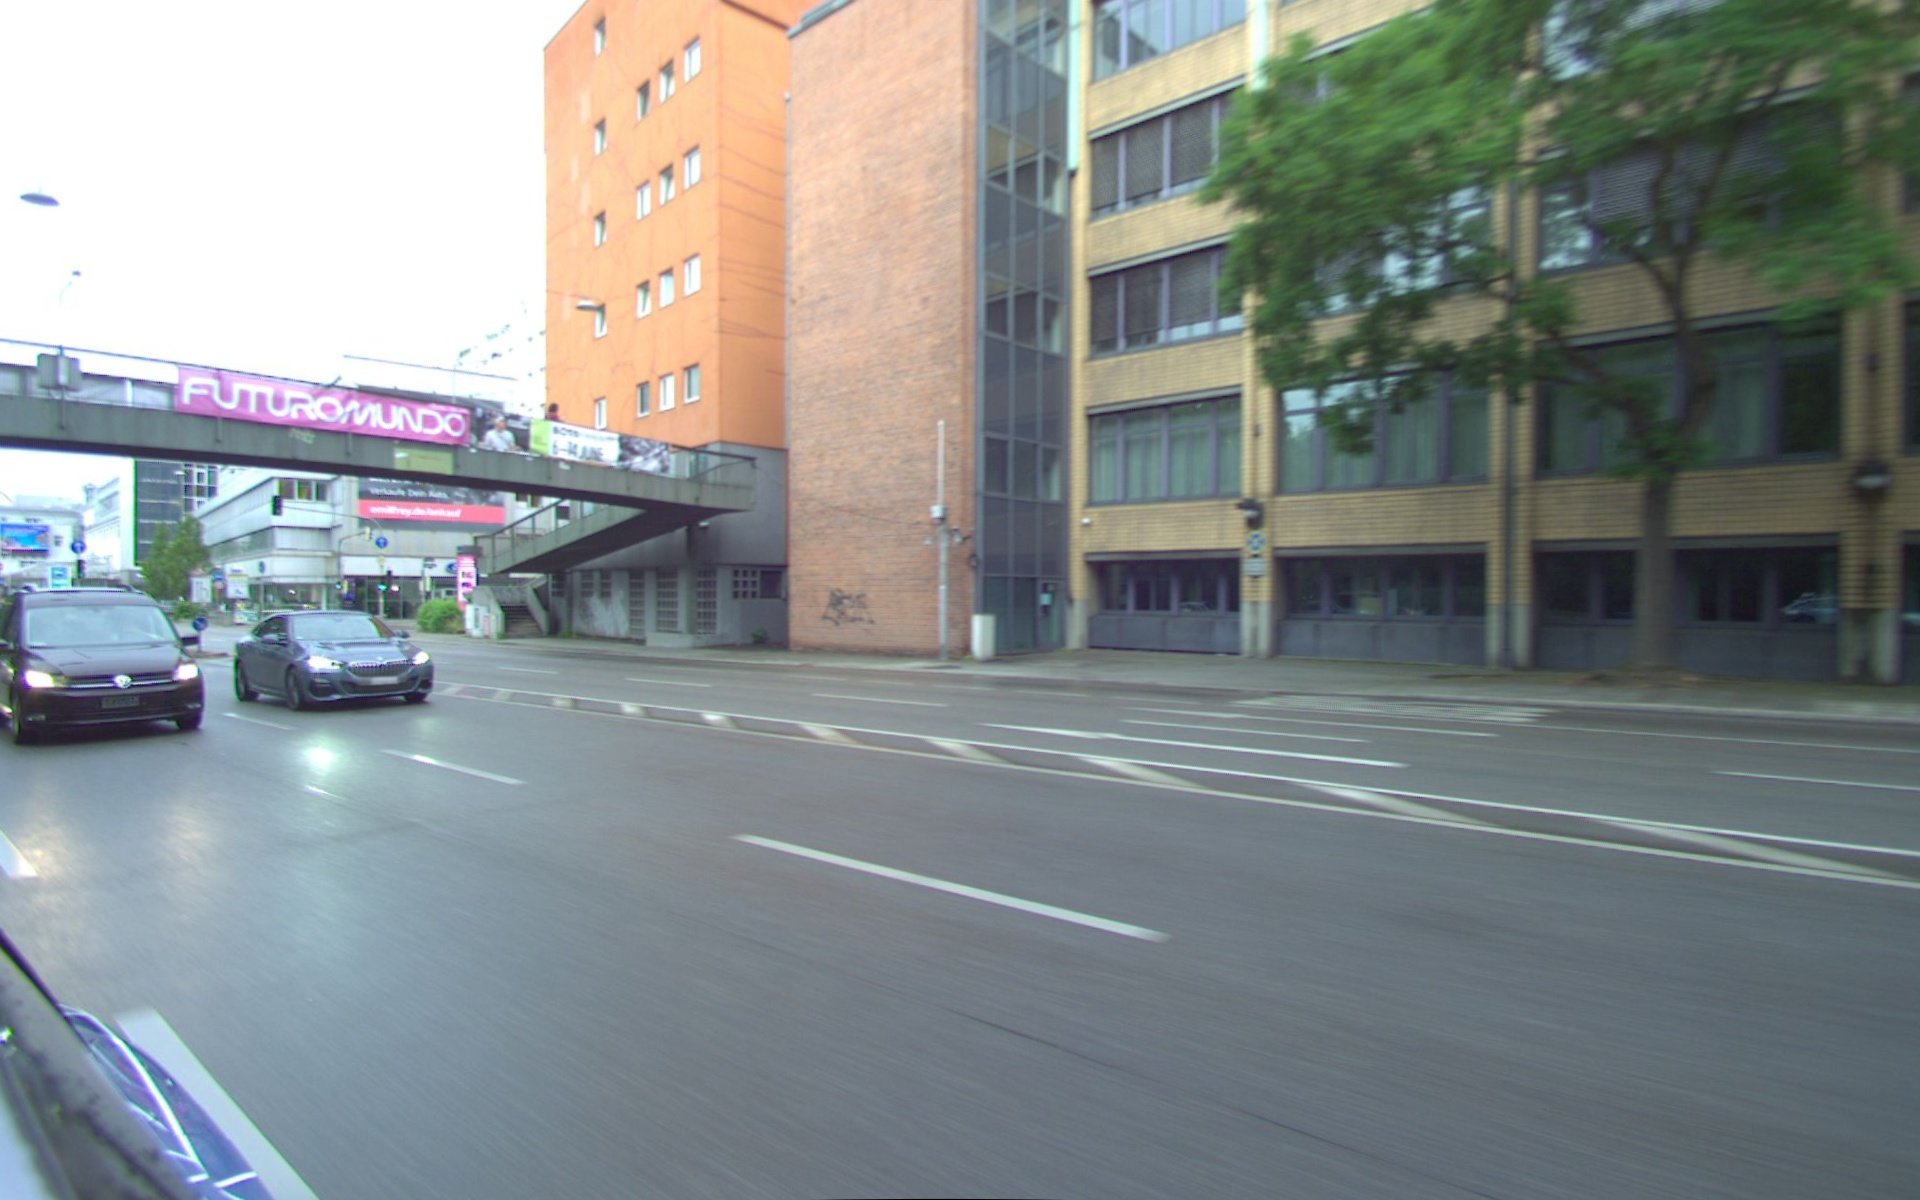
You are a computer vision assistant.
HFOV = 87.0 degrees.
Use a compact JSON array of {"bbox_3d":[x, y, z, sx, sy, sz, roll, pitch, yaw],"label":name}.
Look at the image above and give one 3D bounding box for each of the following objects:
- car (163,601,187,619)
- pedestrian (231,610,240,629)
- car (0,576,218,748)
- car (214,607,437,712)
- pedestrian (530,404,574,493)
[{"bbox_3d":[-85.820,1.053,110.627,1.857,1.881,4.006,-1,1,-40],"label":"car"},{"bbox_3d":[-60.033,1.586,83.851,0.567,1.542,0.454,-1,0,-44],"label":"pedestrian"},{"bbox_3d":[-10.969,0.667,12.667,3.997,1.804,1.819,-1,1,41],"label":"car"},{"bbox_3d":[-10.035,0.864,15.855,4.535,1.426,1.648,-2,-1,40],"label":"car"},{"bbox_3d":[-11.215,-4.146,27.845,0.737,2.272,0.823,0,-1,35],"label":"pedestrian"}]
